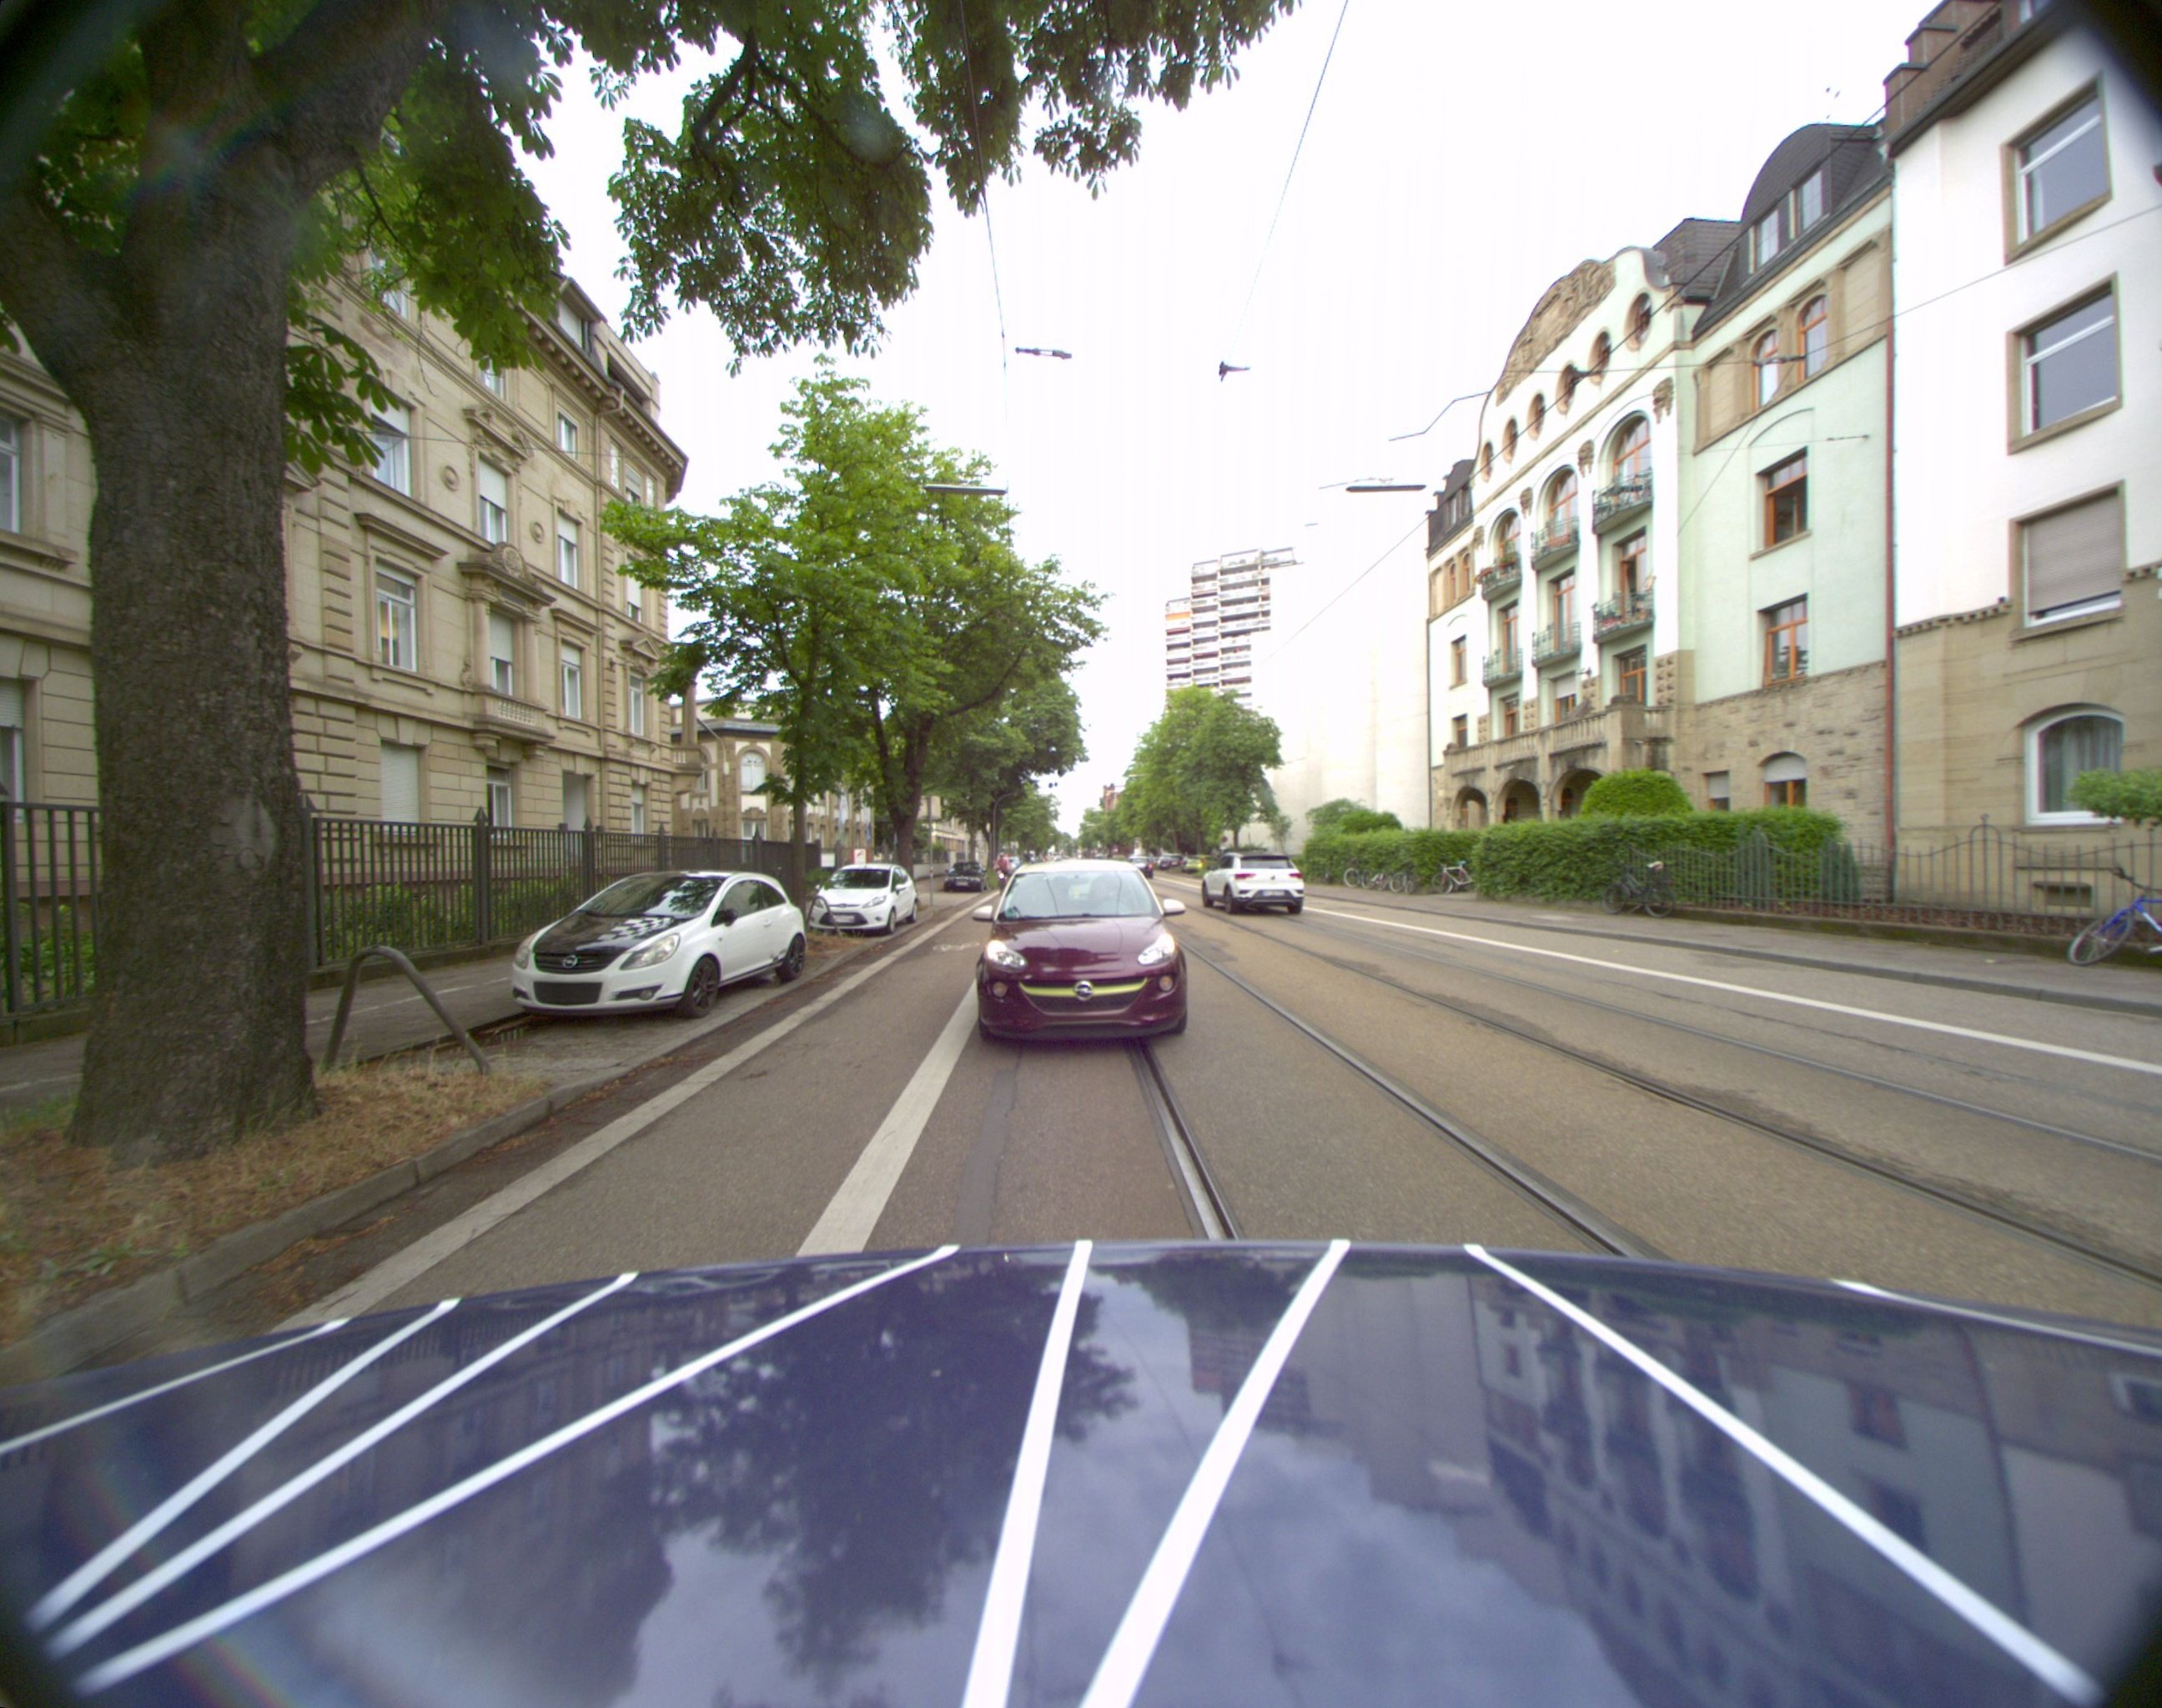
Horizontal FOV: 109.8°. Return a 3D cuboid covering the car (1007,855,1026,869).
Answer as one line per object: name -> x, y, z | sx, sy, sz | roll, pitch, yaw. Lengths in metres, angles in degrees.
car -> -6.552, 0.775, 77.616 | 1.606, 1.362, 3.836 | 1, 0, -1

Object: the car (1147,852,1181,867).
car -> 9.258, 0.558, 84.707 | 4.008, 1.611, 1.690 | -1, 1, -45

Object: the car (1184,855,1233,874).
car -> 9.824, 0.765, 58.529 | 4.008, 1.387, 1.690 | -1, 0, -45

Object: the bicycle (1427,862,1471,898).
bicycle -> 11.580, 0.821, 23.931 | 1.205, 1.077, 0.300 | -3, 1, 0

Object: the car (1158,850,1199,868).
car -> 9.142, 0.431, 71.284 | 4.008, 1.611, 1.690 | -1, 1, -45

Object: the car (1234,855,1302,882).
car -> 10.441, 0.798, 42.370 | 4.008, 1.395, 1.690 | -1, 0, -41

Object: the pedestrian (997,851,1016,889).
pedestrian -> -3.068, 0.668, 31.269 | 0.684, 1.541, 0.704 | -1, 1, -1

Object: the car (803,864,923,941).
car -> -4.699, 0.979, 16.880 | 1.632, 1.427, 3.763 | 1, 0, -1

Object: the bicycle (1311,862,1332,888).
bicycle -> 10.442, 0.893, 32.993 | 0.360, 1.077, 1.546 | -1, 0, -2

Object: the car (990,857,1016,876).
car -> -5.892, 0.939, 57.859 | 1.606, 1.362, 3.836 | 1, 0, -1

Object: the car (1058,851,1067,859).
car -> -5.102, 0.362, 210.307 | 1.998, 2.002, 3.999 | -2, 1, 1

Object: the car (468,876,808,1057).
car -> -4.535, 1.035, 8.498 | 1.606, 1.427, 3.776 | 1, 0, 0

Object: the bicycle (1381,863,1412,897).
bicycle -> 10.581, 0.849, 25.550 | 0.360, 1.077, 1.546 | -1, 0, -2

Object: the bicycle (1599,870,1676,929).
bicycle -> 10.935, 0.868, 14.987 | 0.360, 1.077, 1.546 | -1, 0, -2

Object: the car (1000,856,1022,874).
car -> -5.971, 0.926, 65.202 | 1.606, 1.416, 3.836 | 1, 0, -1

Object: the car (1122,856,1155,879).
car -> 3.644, 0.848, 48.508 | 1.613, 1.414, 3.485 | 0, 0, -4

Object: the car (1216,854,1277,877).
car -> 10.573, 0.722, 48.374 | 4.008, 1.395, 1.690 | -1, 0, -41

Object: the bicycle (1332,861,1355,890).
bicycle -> 10.486, 0.843, 30.375 | 0.360, 1.077, 1.546 | -1, 0, -2

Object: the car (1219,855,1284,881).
car -> 10.174, 0.801, 45.196 | 4.008, 1.395, 1.690 | -1, 0, -41

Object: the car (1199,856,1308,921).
car -> 4.275, 0.799, 19.438 | 1.703, 1.487, 3.929 | 0, 0, -3

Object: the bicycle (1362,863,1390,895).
bicycle -> 10.553, 0.878, 27.211 | 0.360, 1.077, 1.546 | -1, 0, -2

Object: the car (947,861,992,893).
car -> -5.139, 1.038, 35.422 | 1.606, 1.362, 3.836 | 1, 0, -1

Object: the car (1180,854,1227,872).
car -> 9.963, 0.706, 61.583 | 4.008, 1.434, 1.690 | -1, 0, -45

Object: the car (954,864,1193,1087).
car -> -0.066, 0.869, 7.171 | 1.606, 1.427, 3.776 | -2, 0, 0

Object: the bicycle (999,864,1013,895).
bicycle -> -3.091, 1.049, 31.326 | 0.414, 1.197, 1.706 | -1, 0, -1

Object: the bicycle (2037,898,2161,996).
bicycle -> 11.237, 0.986, 7.858 | 0.358, 0.924, 1.661 | 18, 0, 1
